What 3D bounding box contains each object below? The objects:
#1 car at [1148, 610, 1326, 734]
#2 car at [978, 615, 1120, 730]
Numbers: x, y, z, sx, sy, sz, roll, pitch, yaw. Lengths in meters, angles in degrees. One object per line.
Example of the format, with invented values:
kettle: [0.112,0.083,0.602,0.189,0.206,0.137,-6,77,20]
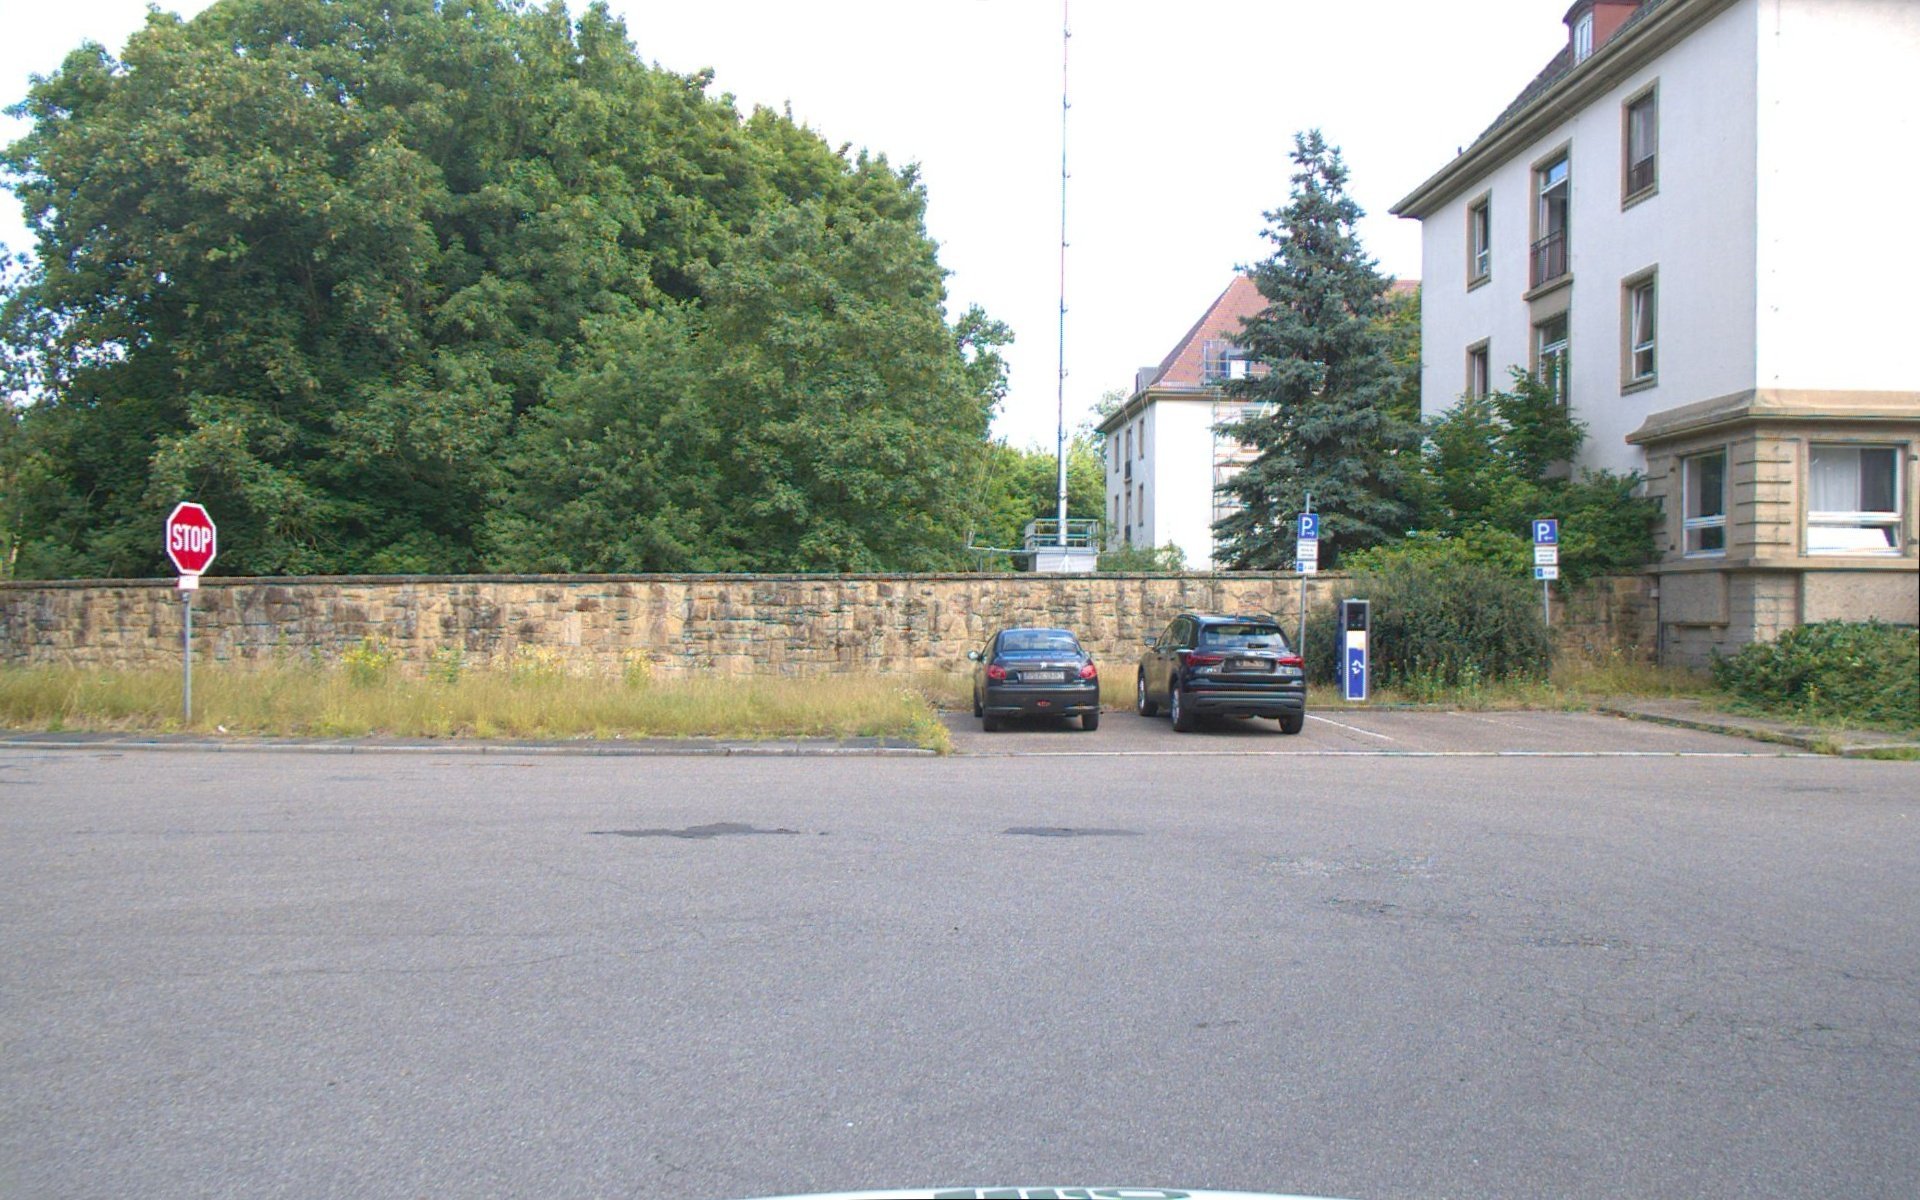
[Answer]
car: [3.904,0.968,23.939,1.855,1.573,3.999,0,1,-1]
car: [1.228,1.003,24.358,1.835,1.466,4.000,0,1,-1]
